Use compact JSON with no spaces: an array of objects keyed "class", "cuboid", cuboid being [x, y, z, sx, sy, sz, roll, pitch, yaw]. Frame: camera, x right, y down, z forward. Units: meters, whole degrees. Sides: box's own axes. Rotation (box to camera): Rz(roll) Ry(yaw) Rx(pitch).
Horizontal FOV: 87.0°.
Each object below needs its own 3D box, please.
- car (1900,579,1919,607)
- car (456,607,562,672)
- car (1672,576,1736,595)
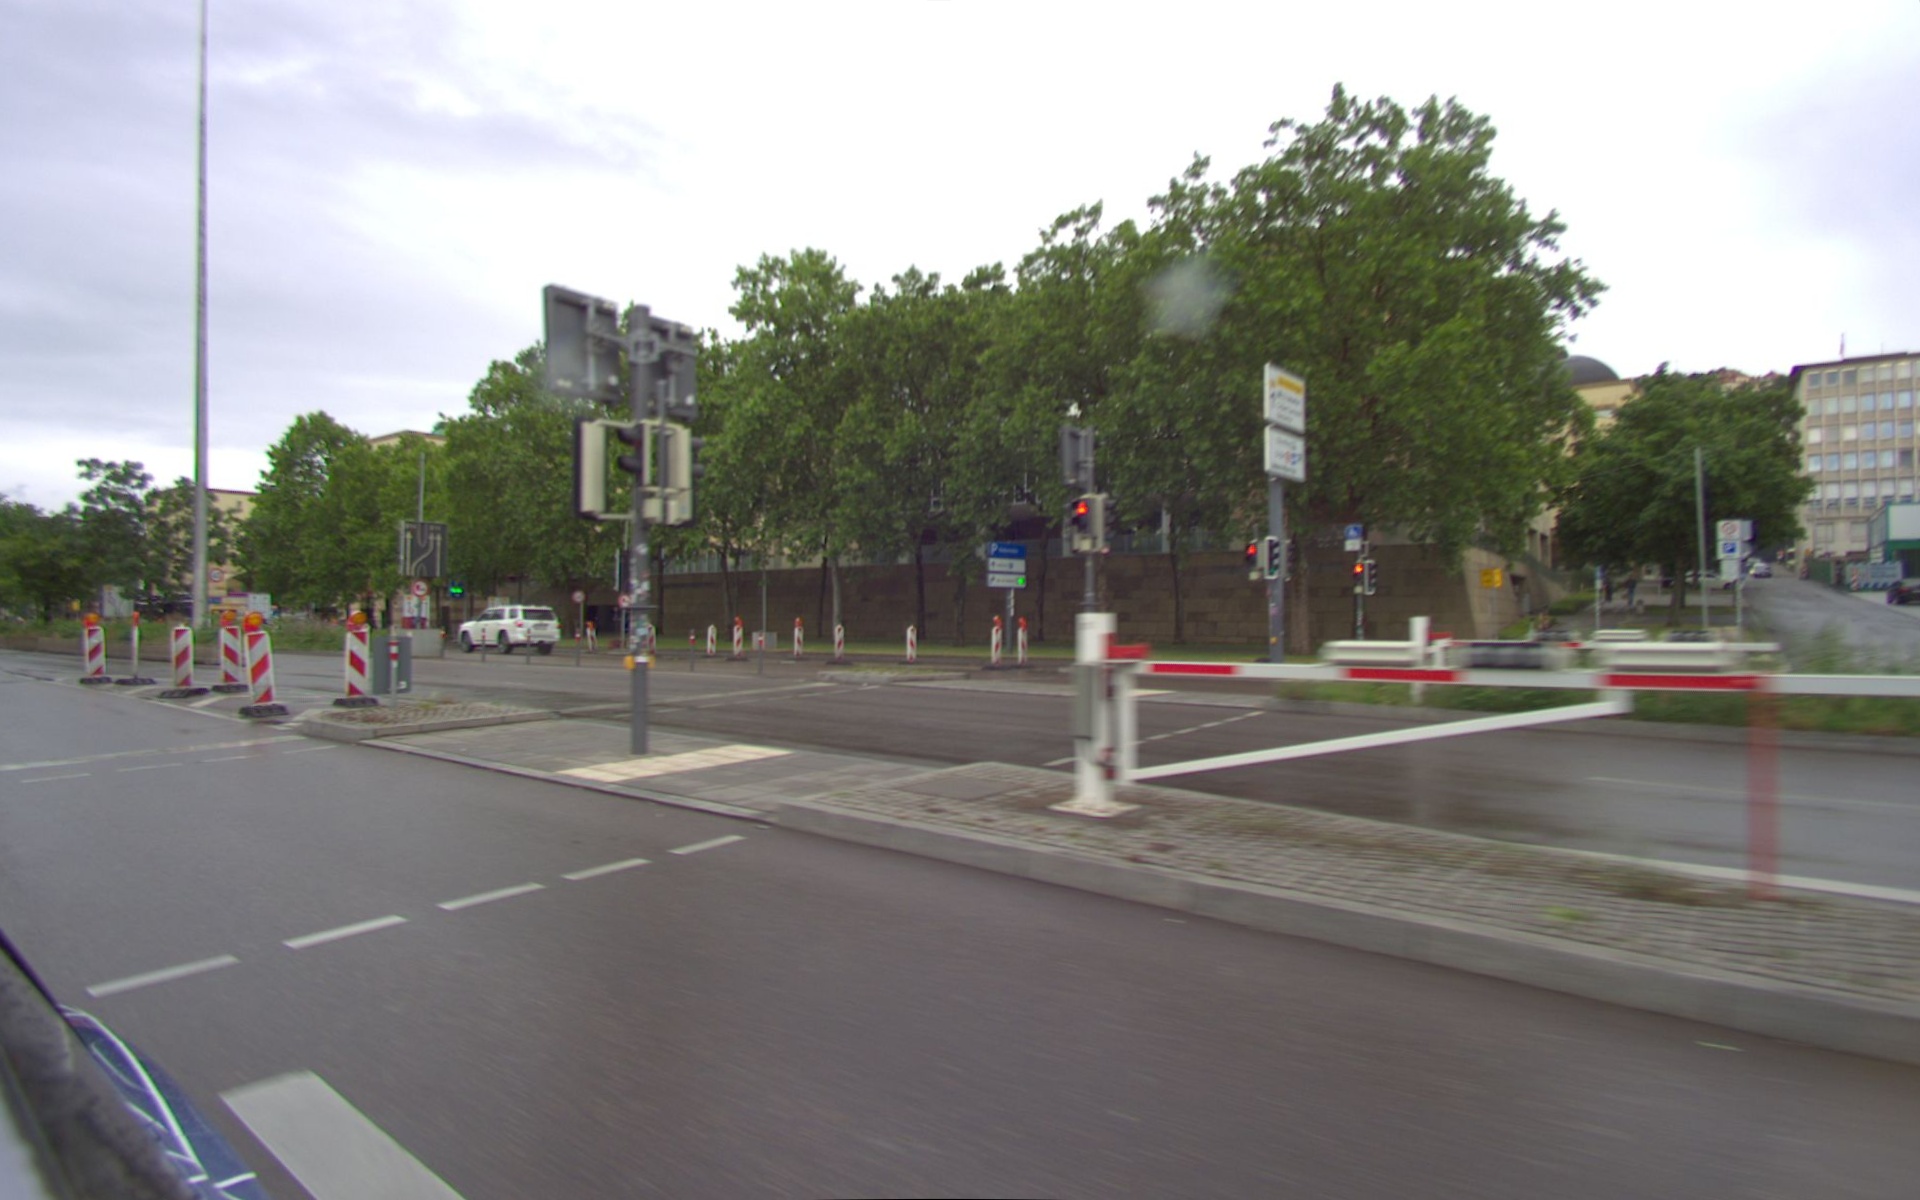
[{"class":"car","cuboid":[53.415,-0.395,55.786,2.034,1.472,3.685,-1,0,38]},{"class":"car","cuboid":[-17.358,1.462,38.896,4.222,2.316,1.975,-1,0,38]},{"class":"car","cuboid":[57.644,-1.128,78.490,3.959,1.375,1.589,-1,0,38]}]
